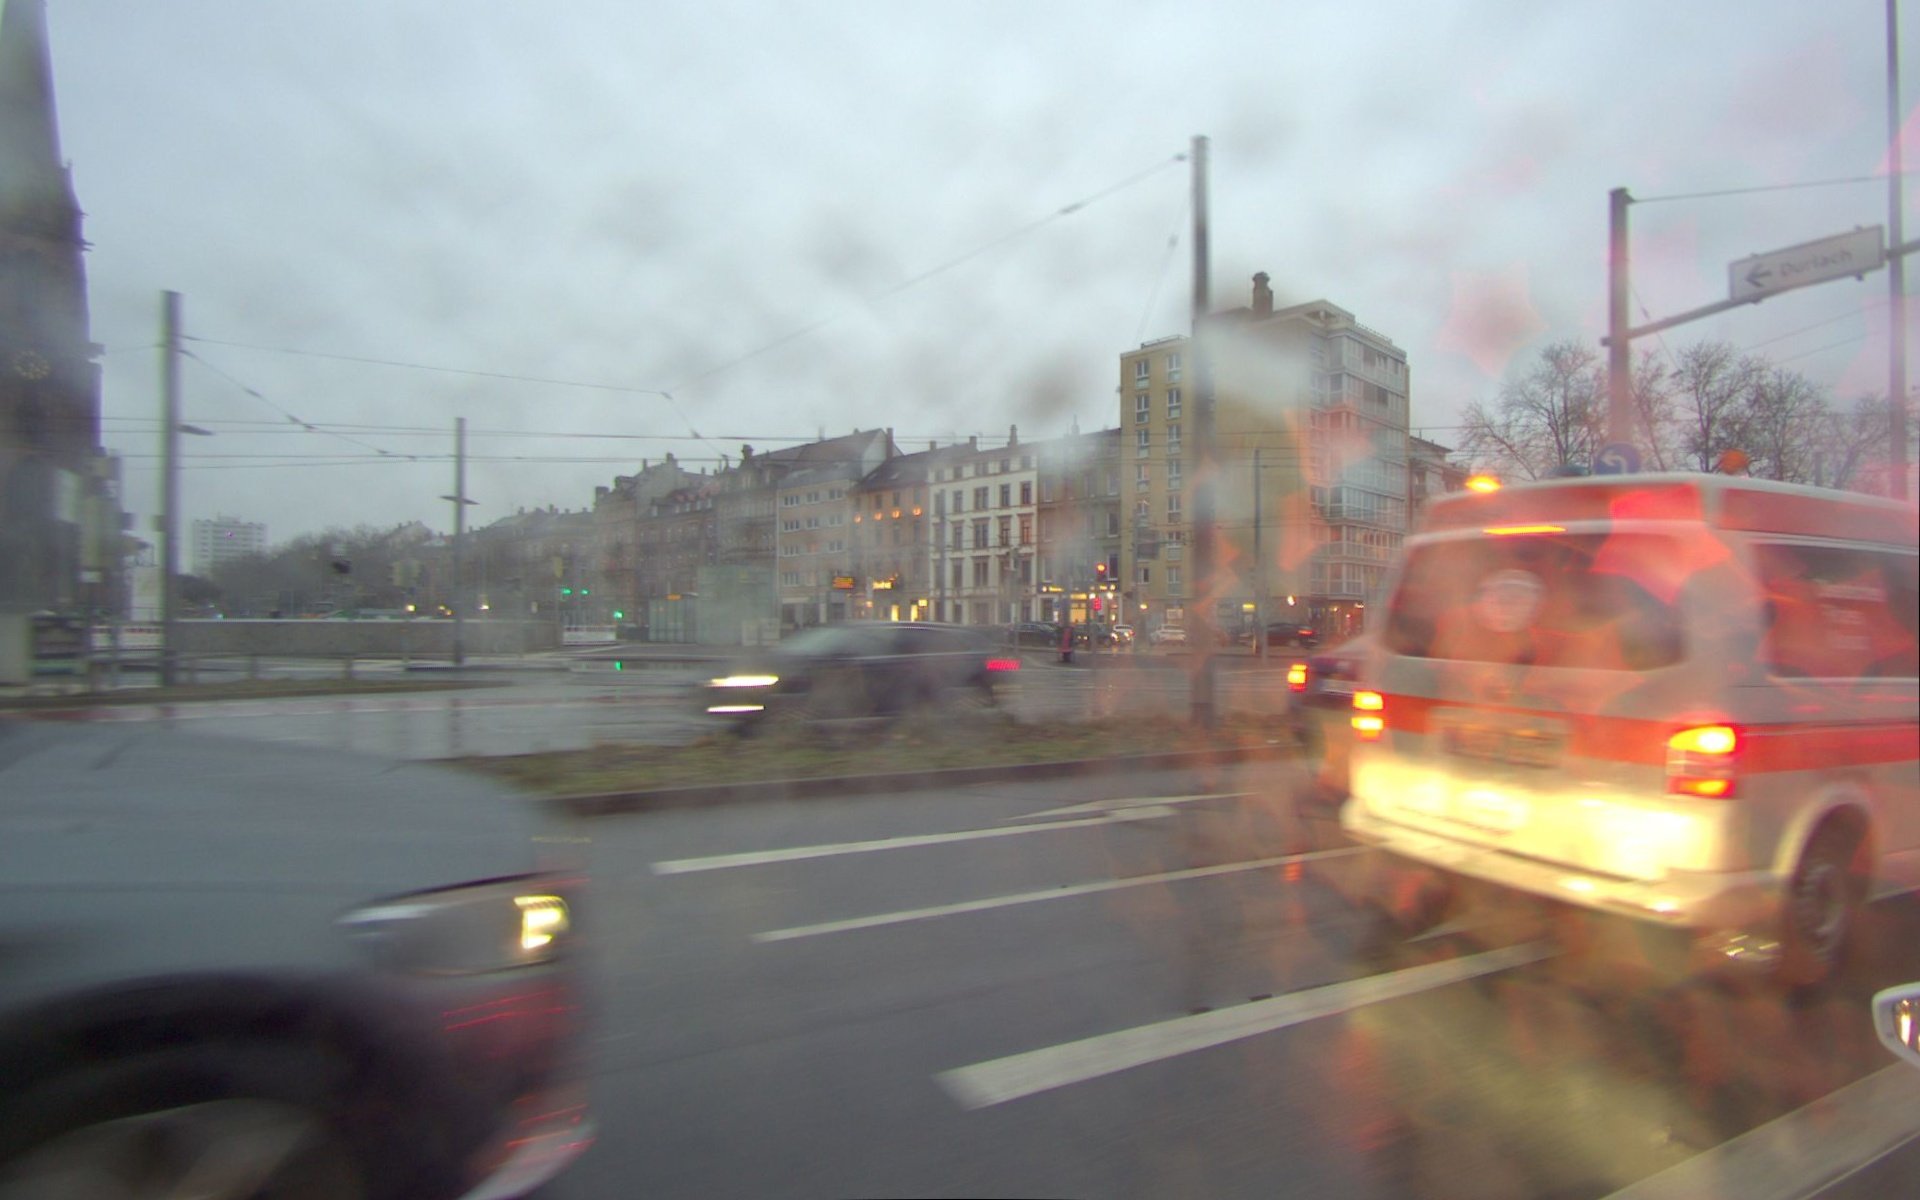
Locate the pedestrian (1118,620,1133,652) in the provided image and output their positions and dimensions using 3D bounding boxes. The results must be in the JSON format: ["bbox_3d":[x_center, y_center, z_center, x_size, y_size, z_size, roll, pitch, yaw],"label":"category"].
[{"bbox_3d":[9.510,2.056,57.701,0.620,1.826,0.570,-1,-1,44],"label":"pedestrian"}]

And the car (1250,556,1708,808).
[{"bbox_3d":[4.702,0.630,9.003,3.954,1.795,1.875,1,-1,-31],"label":"car"}]

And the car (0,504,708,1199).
[{"bbox_3d":[-2.900,0.619,1.659,4.490,1.622,1.776,1,1,-32],"label":"car"}]

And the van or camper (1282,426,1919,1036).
[{"bbox_3d":[4.437,0.506,5.669,4.925,2.137,2.193,1,0,-28],"label":"van or camper"}]

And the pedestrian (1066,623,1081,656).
[{"bbox_3d":[6.360,2.187,56.231,0.568,1.826,0.622,1,-1,-38],"label":"pedestrian"}]

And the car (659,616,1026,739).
[{"bbox_3d":[-1.526,0.983,13.931,4.772,1.438,1.794,2,-1,-34],"label":"car"}]

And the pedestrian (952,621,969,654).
[{"bbox_3d":[0.030,1.957,52.131,0.686,1.718,0.574,-1,-2,41],"label":"pedestrian"}]
